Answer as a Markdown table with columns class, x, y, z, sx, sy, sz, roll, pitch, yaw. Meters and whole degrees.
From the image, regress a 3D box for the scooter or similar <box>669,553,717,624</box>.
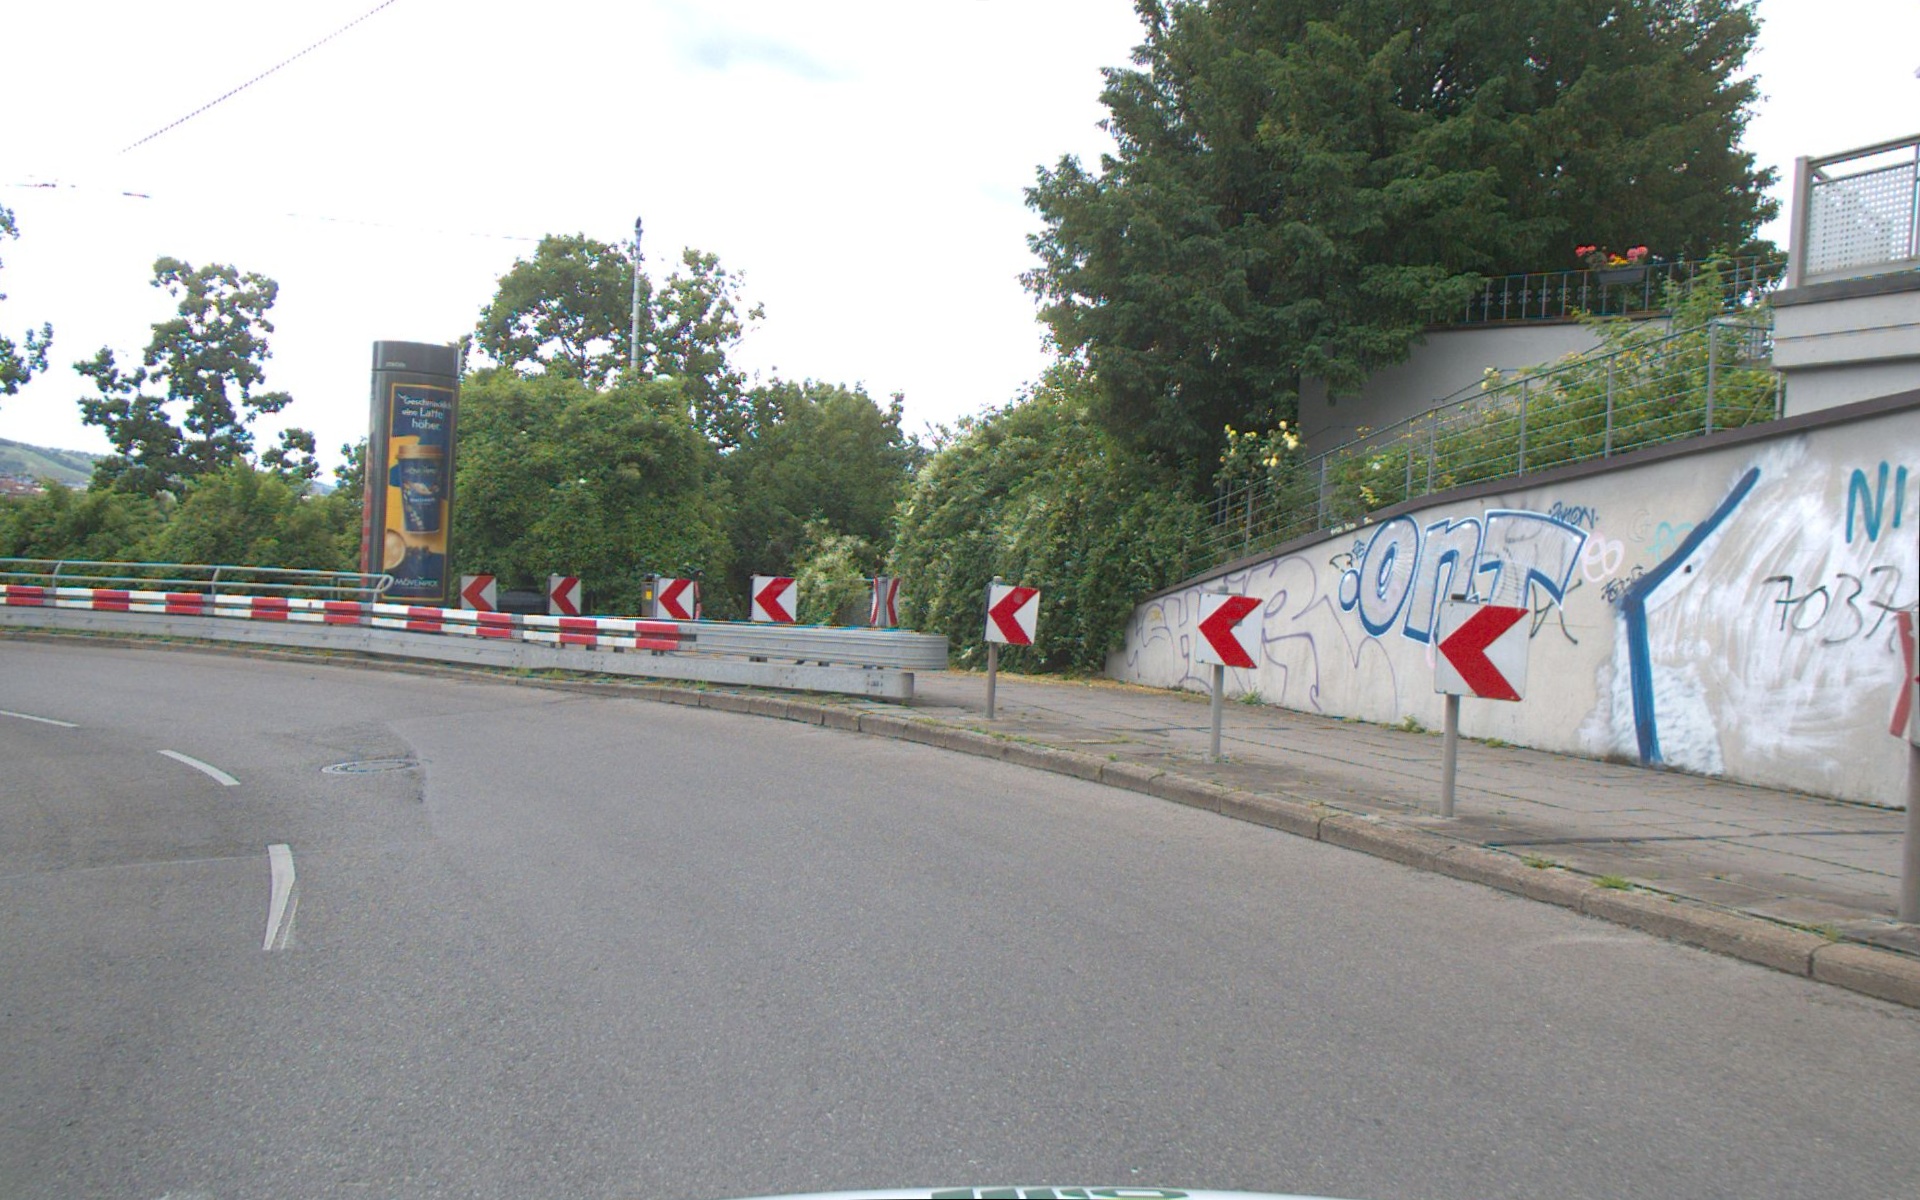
| class | x | y | z | sx | sy | sz | roll | pitch | yaw |
| --- | --- | --- | --- | --- | --- | --- | --- | --- | --- |
| scooter or similar | -4.955 | -0.227 | 30.784 | 0.426 | 1.272 | 1.502 | 2 | 1 | 8 |
